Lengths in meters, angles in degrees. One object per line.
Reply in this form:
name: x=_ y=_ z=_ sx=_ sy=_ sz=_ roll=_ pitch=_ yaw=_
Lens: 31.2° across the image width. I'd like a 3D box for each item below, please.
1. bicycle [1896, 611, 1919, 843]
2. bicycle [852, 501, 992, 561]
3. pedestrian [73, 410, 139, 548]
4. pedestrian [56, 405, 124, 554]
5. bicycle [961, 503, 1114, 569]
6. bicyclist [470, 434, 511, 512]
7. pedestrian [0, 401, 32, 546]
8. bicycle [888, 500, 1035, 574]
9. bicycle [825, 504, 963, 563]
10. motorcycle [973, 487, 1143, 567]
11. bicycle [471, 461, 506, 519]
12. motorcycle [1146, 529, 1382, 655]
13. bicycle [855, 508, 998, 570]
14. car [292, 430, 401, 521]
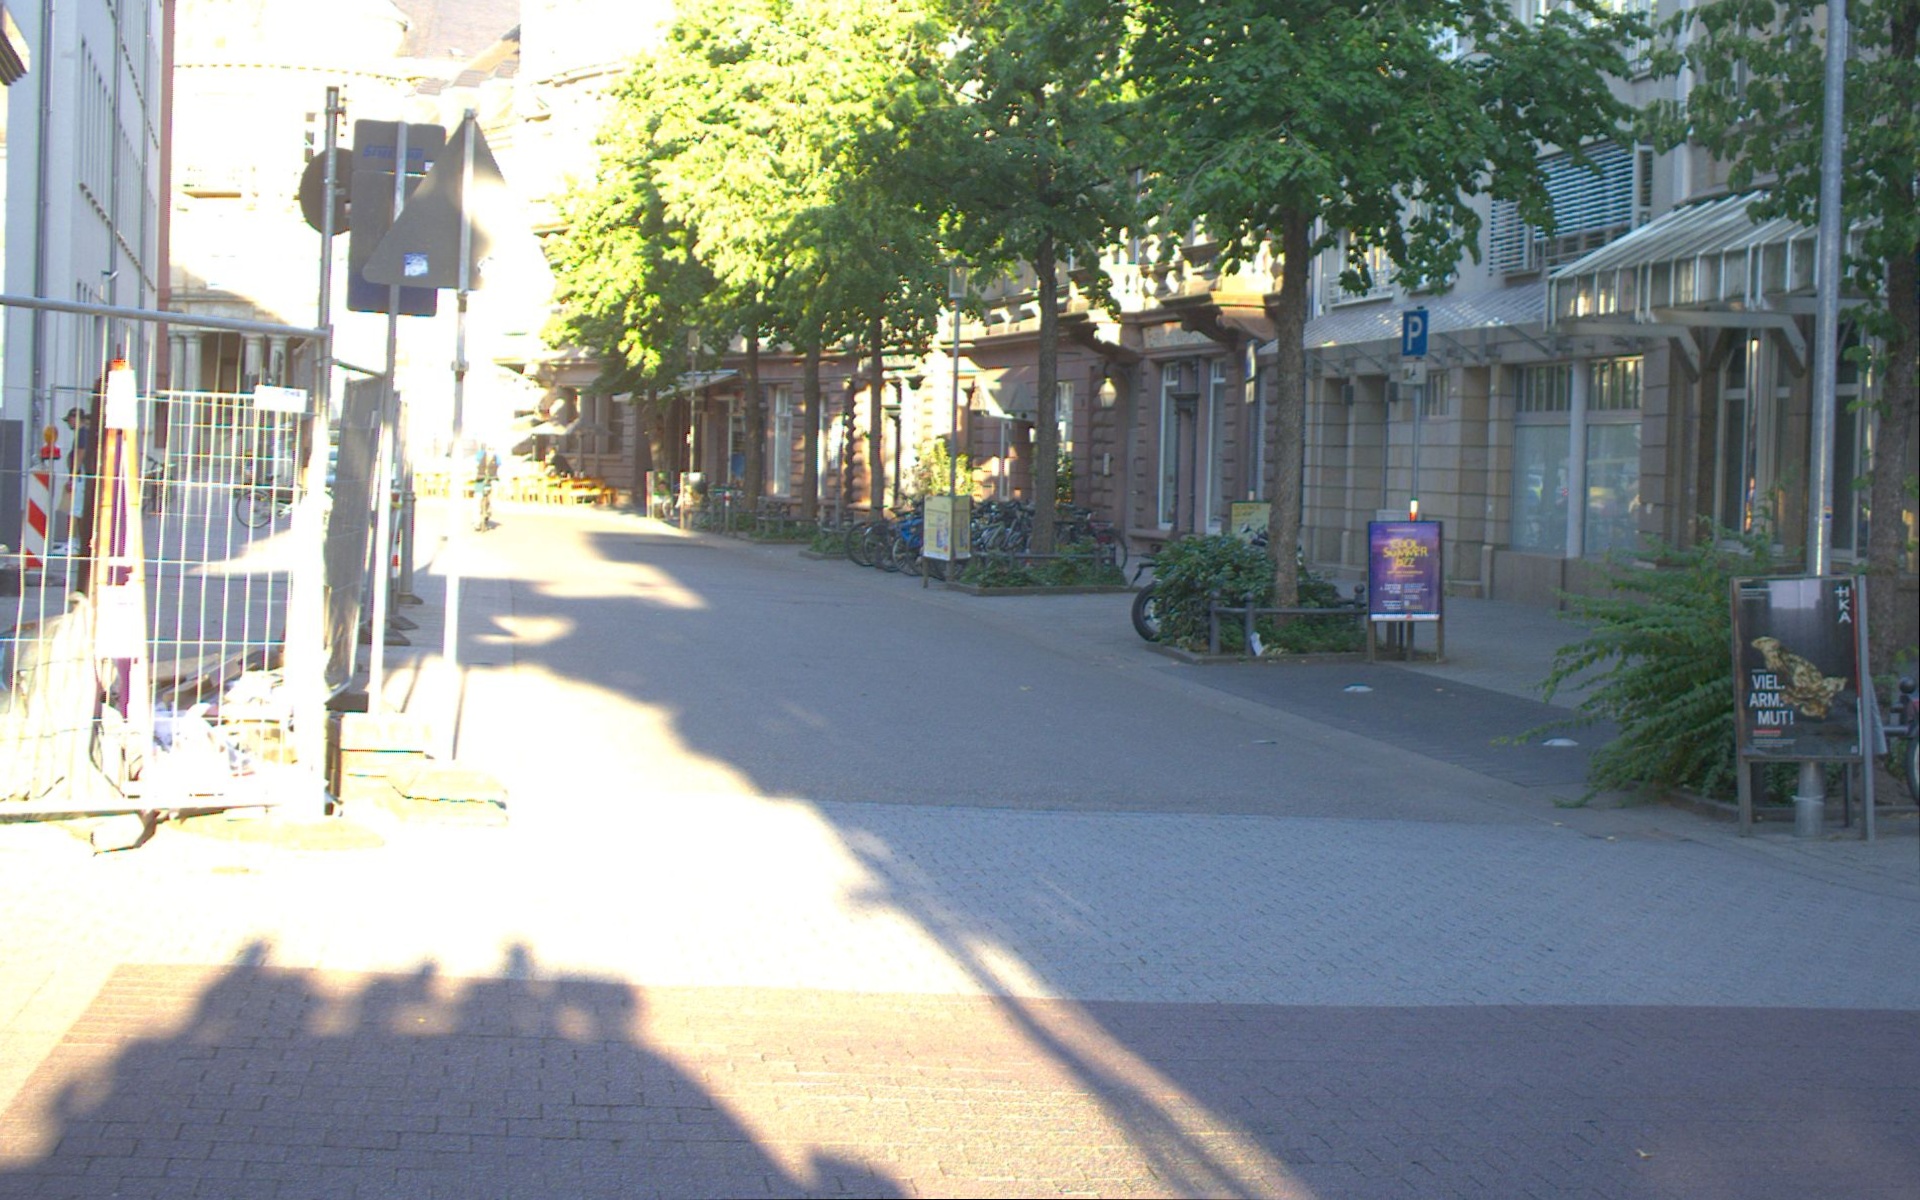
bicycle: x=5.341 y=0.589 z=16.340 sx=1.656 sy=1.047 sz=0.663 roll=-1 pitch=3 yaw=10
bicycle: x=-0.614 y=-1.108 z=55.257 sx=2.152 sy=0.922 sz=0.591 roll=1 pitch=2 yaw=-16
pedestrian: x=-10.364 y=-1.467 z=41.737 sx=0.654 sy=1.646 sz=0.634 roll=1 pitch=2 yaw=-4
pedestrian: x=-10.418 y=-1.447 z=41.176 sx=0.654 sy=1.757 sz=0.634 roll=1 pitch=2 yaw=-4
bicycle: x=1.131 y=-0.926 z=50.028 sx=2.152 sy=0.922 sz=0.591 roll=1 pitch=2 yaw=-24
bicyclist: x=-9.017 y=-2.444 z=65.959 sx=0.721 sy=1.463 sz=0.718 roll=1 pitch=2 yaw=-10
pedestrian: x=-11.513 y=-1.520 z=41.124 sx=0.654 sy=1.719 sz=0.634 roll=1 pitch=2 yaw=-4
bicycle: x=0.027 y=-0.952 z=51.836 sx=2.153 sy=1.057 sz=0.590 roll=1 pitch=1 yaw=6
bicycle: x=-1.078 y=-1.084 z=56.071 sx=2.152 sy=0.922 sz=0.591 roll=1 pitch=2 yaw=-16
motorcycle: x=1.408 y=-1.035 z=48.994 sx=2.471 sy=1.091 sz=0.591 roll=0 pitch=2 yaw=-31
bicycle: x=-9.053 y=-2.111 z=66.006 sx=0.588 sy=1.091 sz=2.161 roll=1 pitch=2 yaw=-10
motorcycle: x=2.878 y=-0.079 z=32.566 sx=2.152 sy=1.147 sz=0.494 roll=1 pitch=2 yaw=-11
bicycle: x=-0.529 y=-0.960 z=54.038 sx=2.152 sy=0.922 sz=0.591 roll=1 pitch=2 yaw=-16
car: x=-11.920 y=-2.434 z=66.671 sx=1.841 sy=1.678 sz=3.646 roll=1 pitch=2 yaw=-14
